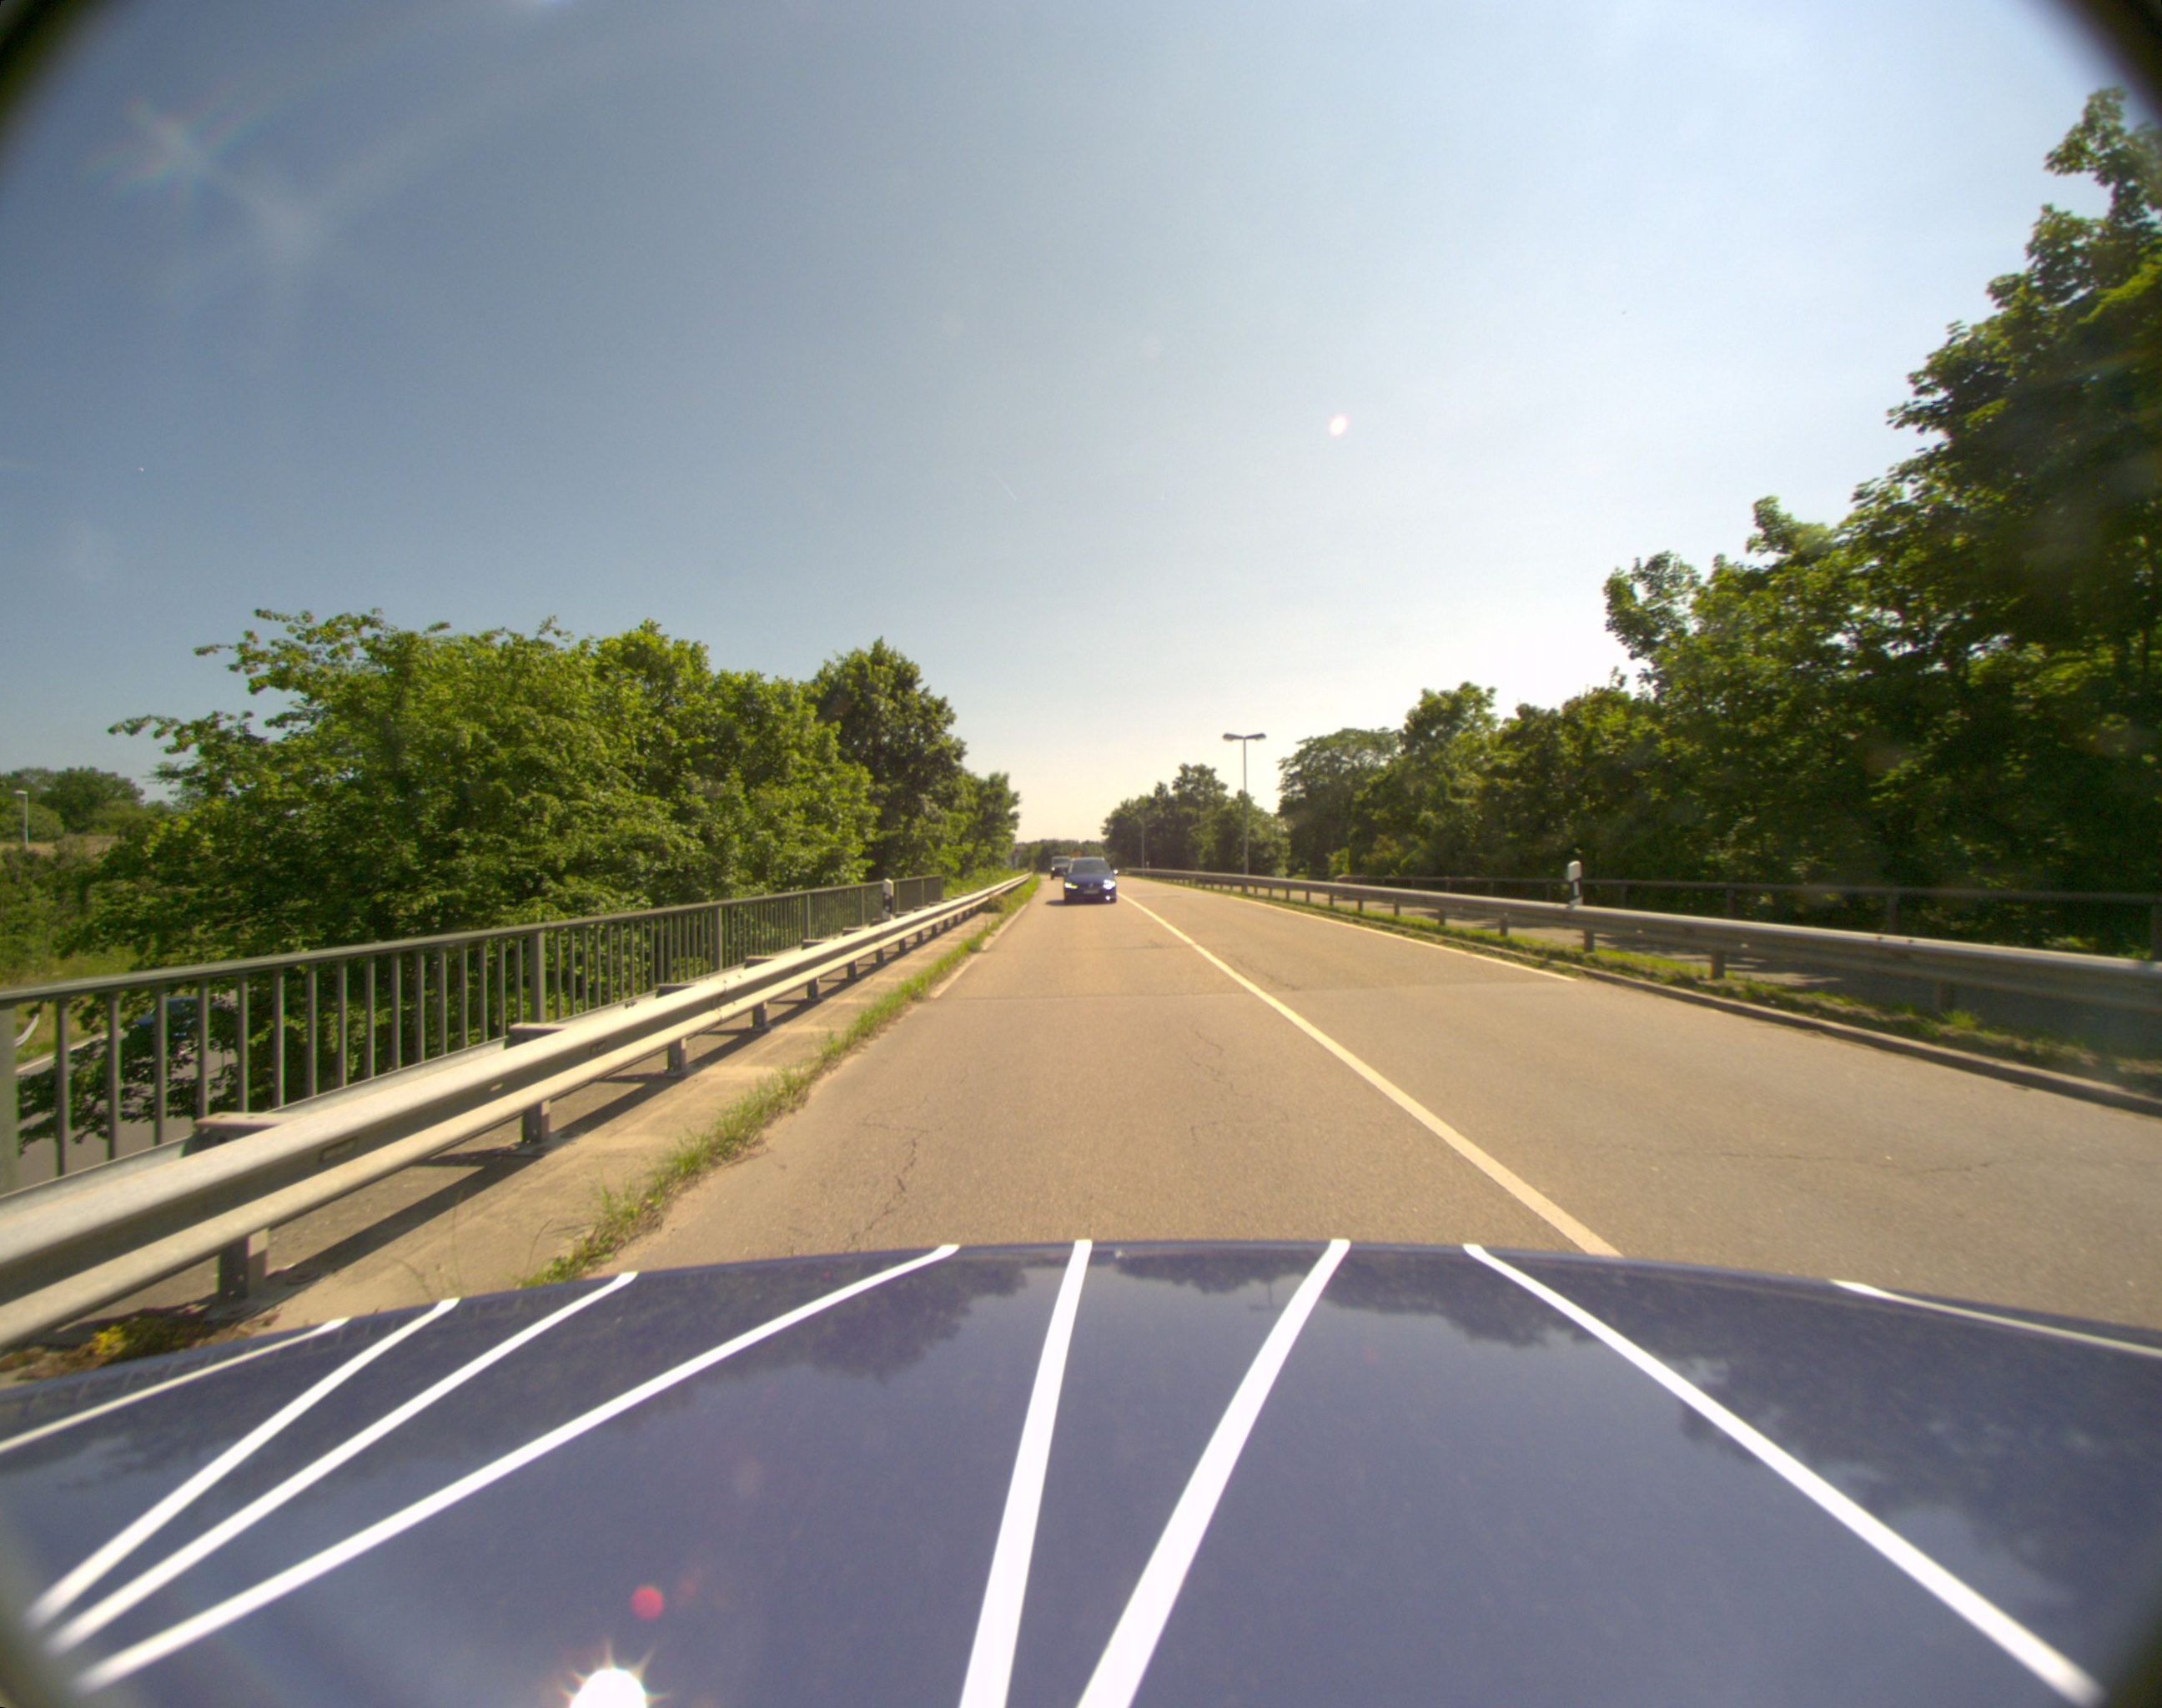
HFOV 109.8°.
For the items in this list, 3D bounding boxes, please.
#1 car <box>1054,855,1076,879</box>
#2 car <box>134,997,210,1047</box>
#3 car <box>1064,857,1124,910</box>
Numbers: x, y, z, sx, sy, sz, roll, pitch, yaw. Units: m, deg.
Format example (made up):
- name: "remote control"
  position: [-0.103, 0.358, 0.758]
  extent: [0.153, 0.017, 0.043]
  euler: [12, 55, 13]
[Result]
- name: "car"
  position: [-1.385, 1.168, 65.216]
  extent: [1.779, 2.006, 4.001]
  euler: [1, -2, -1]
- name: "car"
  position: [-41.662, 7.675, 34.902]
  extent: [1.494, 1.566, 3.599]
  euler: [1, -2, -39]
- name: "car"
  position: [0.386, 0.928, 25.773]
  extent: [1.828, 1.591, 4.195]
  euler: [-2, 0, -1]
